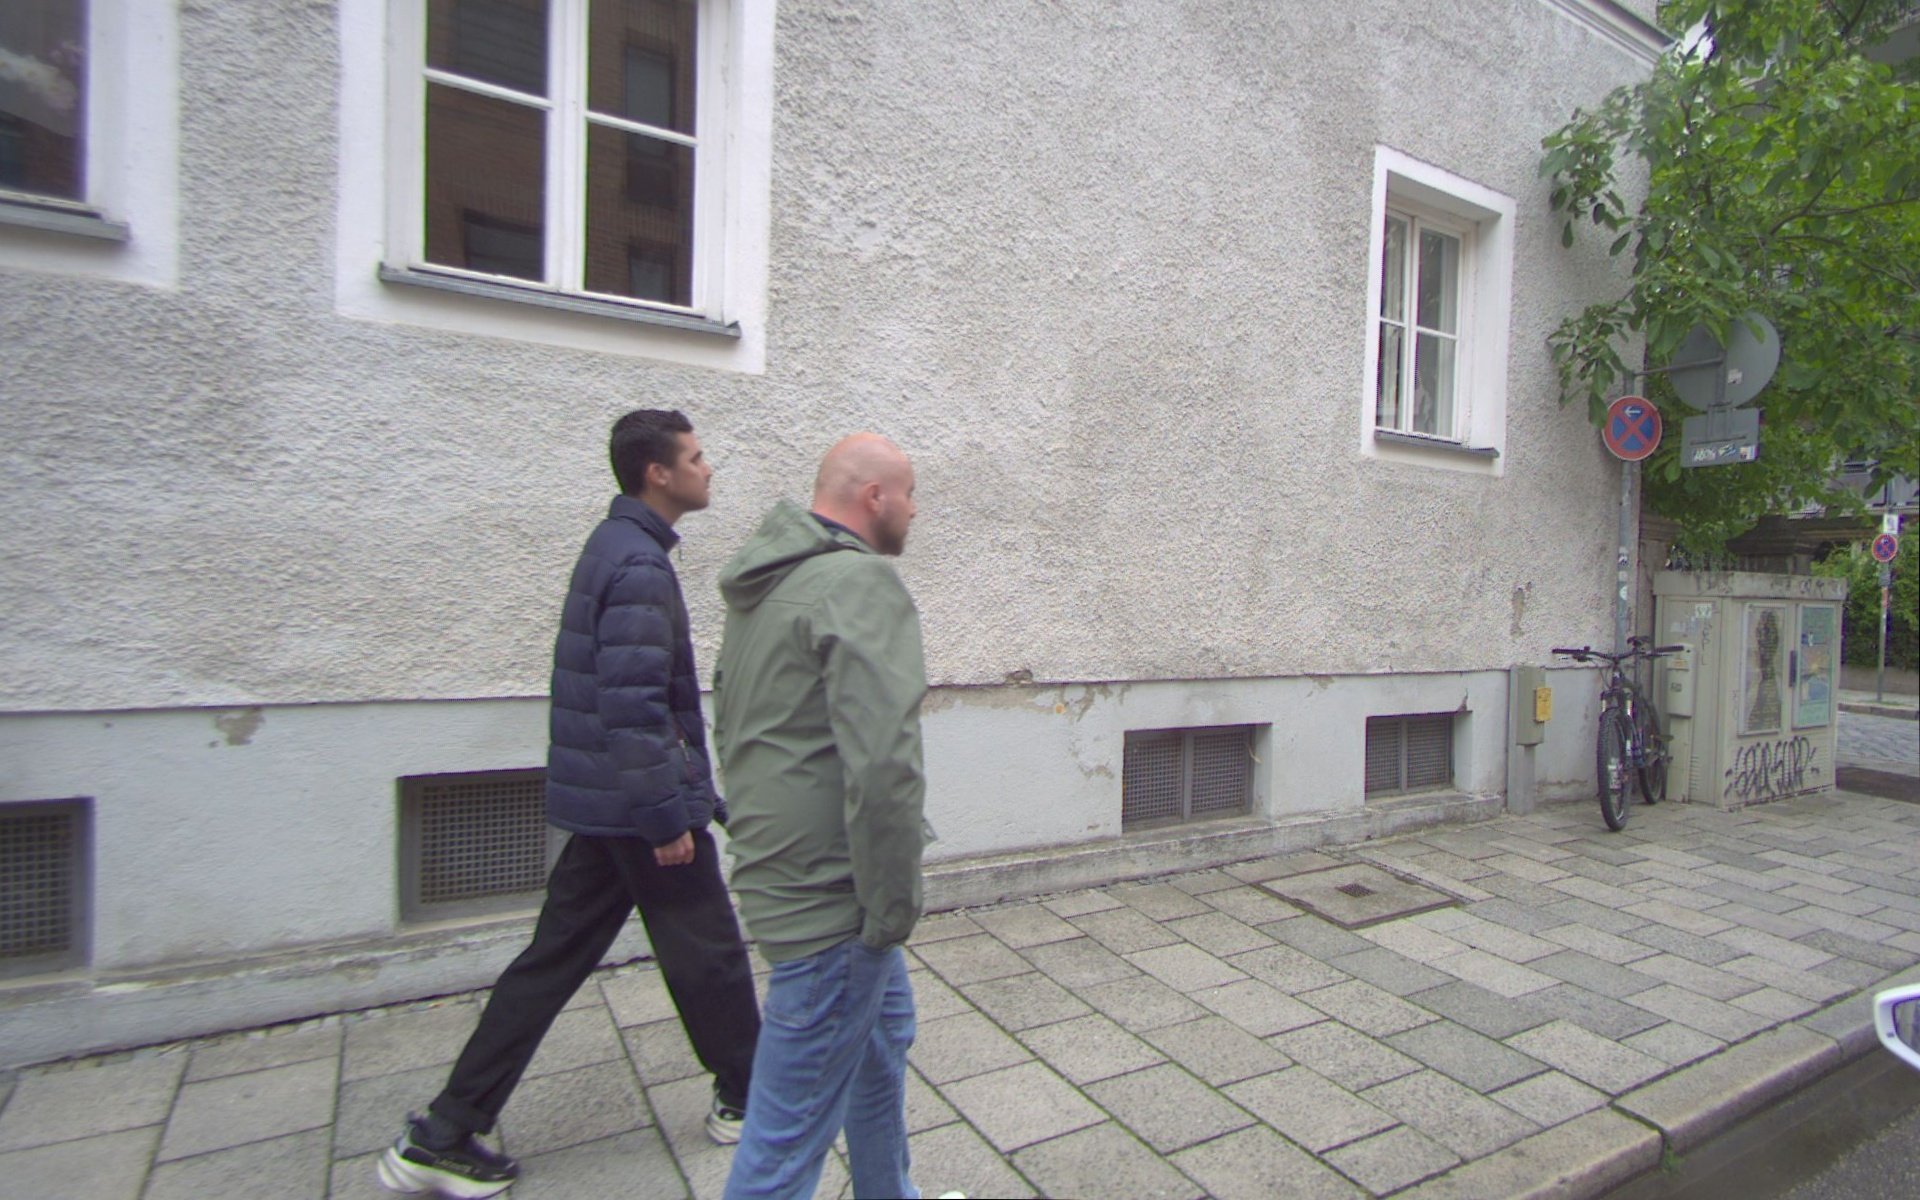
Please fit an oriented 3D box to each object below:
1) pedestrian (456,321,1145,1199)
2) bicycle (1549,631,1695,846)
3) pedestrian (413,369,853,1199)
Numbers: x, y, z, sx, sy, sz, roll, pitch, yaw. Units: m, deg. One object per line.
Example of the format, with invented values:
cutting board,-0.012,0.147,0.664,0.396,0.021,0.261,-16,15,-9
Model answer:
pedestrian,-0.321,0.517,1.714,0.896,1.681,0.749,2,3,-30
bicycle,4.182,0.783,6.288,0.467,1.126,1.750,3,2,42
pedestrian,-0.785,0.435,2.355,0.814,1.736,0.609,2,3,-31
